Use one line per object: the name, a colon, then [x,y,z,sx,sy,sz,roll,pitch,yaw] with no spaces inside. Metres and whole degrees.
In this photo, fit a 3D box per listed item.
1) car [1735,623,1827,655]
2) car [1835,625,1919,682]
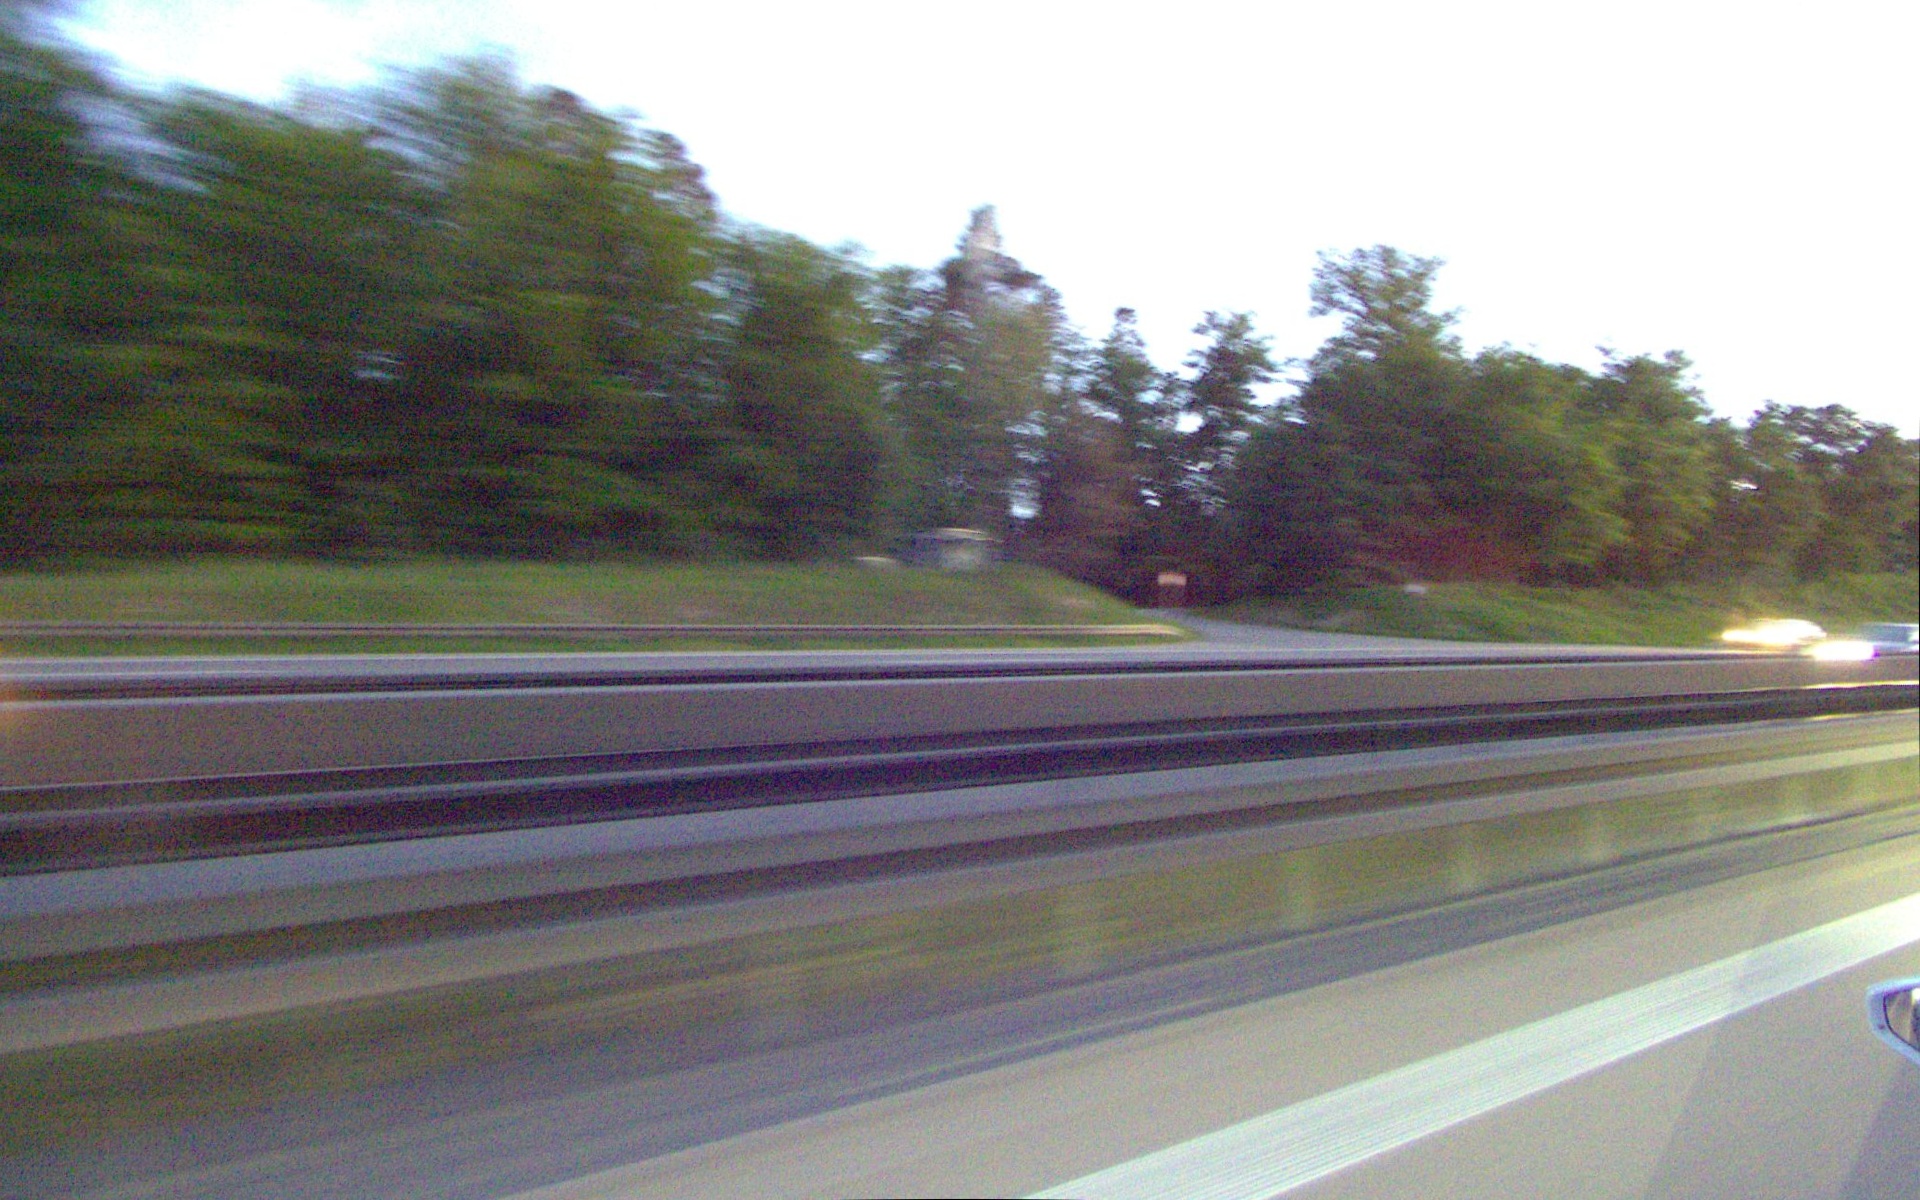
car: [39.493,1.864,48.307,4.849,1.399,1.806,2,0,-30]
car: [26.590,1.461,28.016,4.849,1.399,1.806,2,0,-30]
